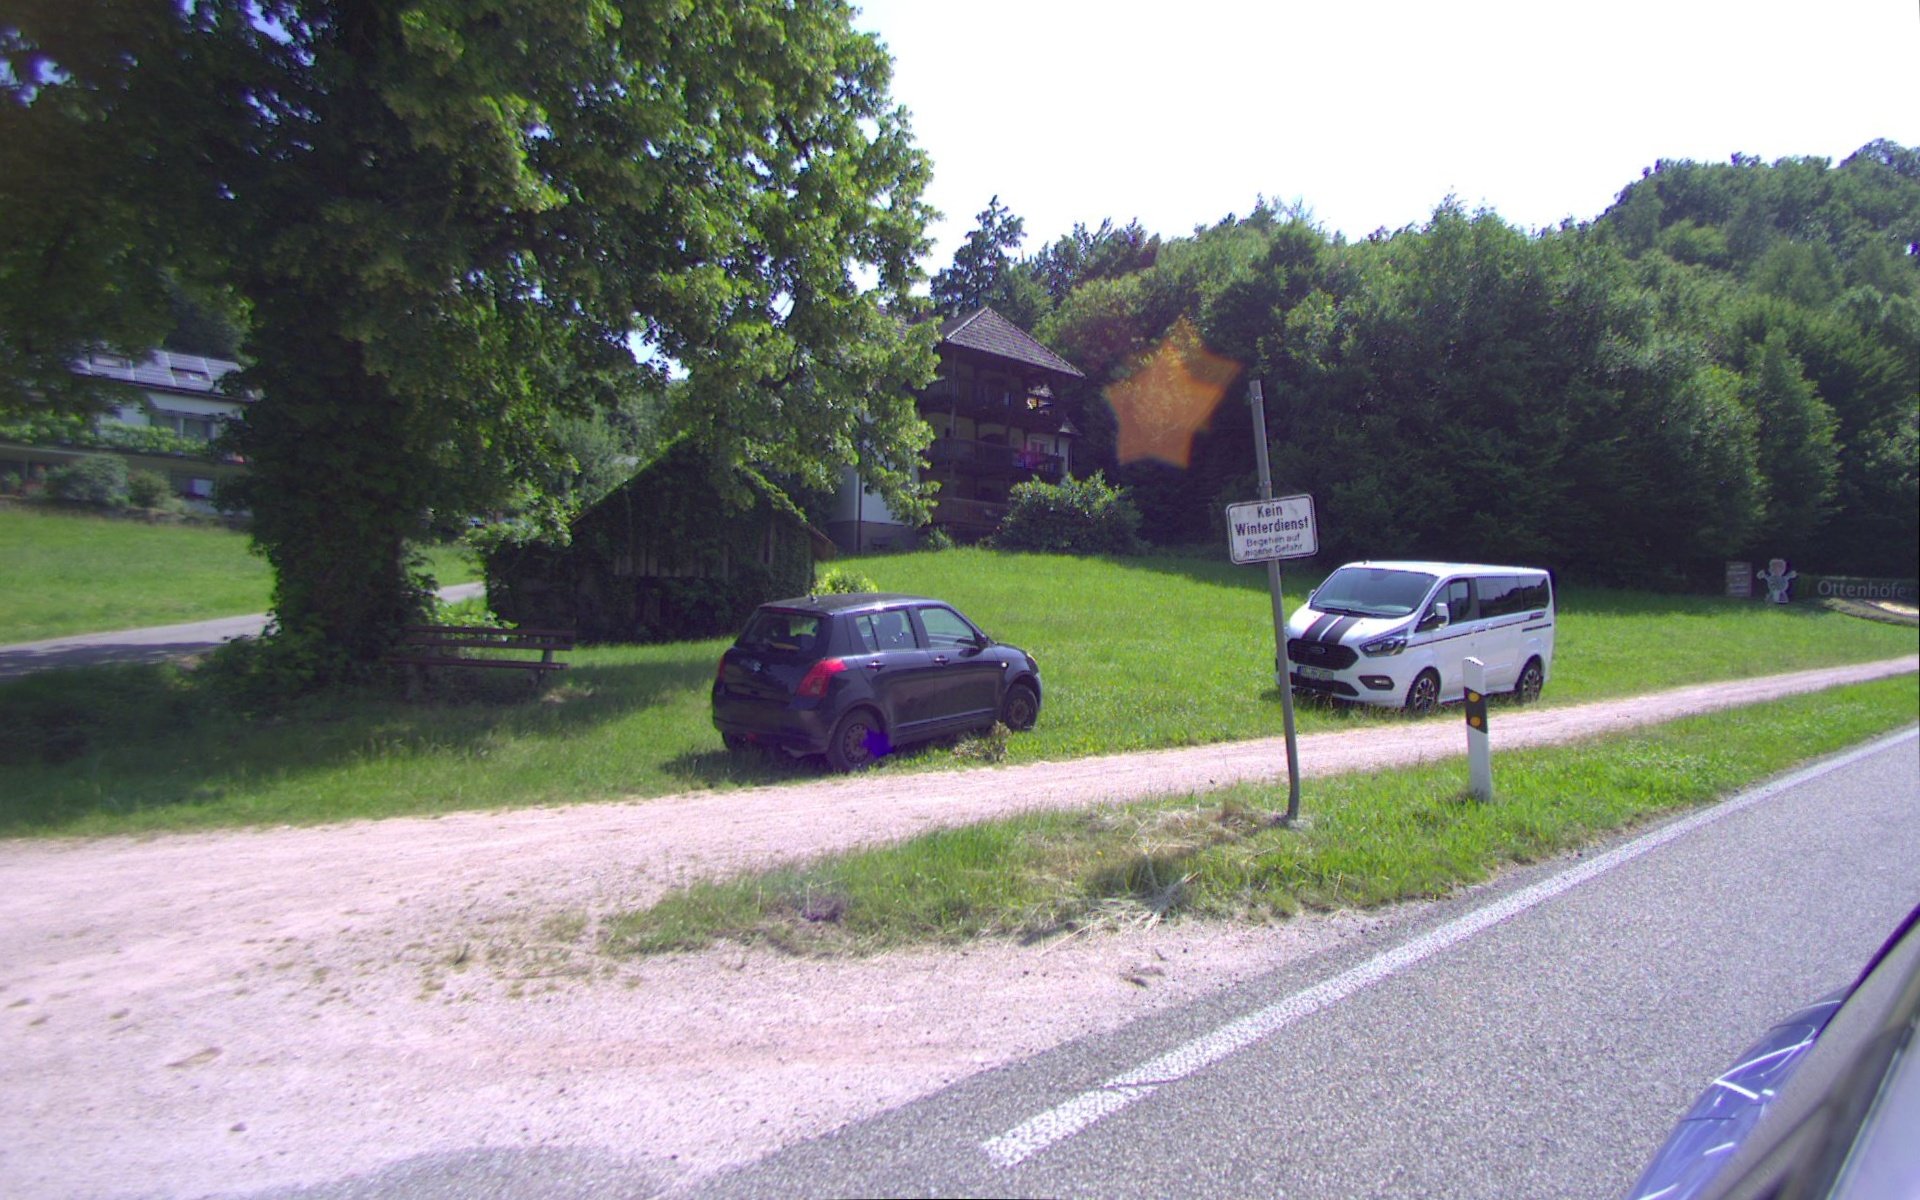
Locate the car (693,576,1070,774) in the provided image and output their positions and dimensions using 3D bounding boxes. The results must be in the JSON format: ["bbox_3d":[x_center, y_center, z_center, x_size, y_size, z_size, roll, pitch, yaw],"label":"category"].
[{"bbox_3d":[-0.626,0.557,10.055,1.671,1.474,3.663,4,4,39],"label":"car"}]

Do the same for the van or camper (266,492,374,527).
[{"bbox_3d":[-37.122,-5.227,58.768,2.026,1.662,4.968,2,2,43],"label":"van or camper"}]

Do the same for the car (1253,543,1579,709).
[{"bbox_3d":[6.551,0.267,14.333,4.778,1.870,2.007,0,6,-37],"label":"car"}]

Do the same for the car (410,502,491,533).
[{"bbox_3d":[-33.862,-5.444,67.358,1.920,1.634,4.384,2,0,44],"label":"car"}]

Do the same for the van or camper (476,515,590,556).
[{"bbox_3d":[-23.701,-3.522,56.228,5.336,1.974,2.817,0,1,-38],"label":"van or camper"}]
